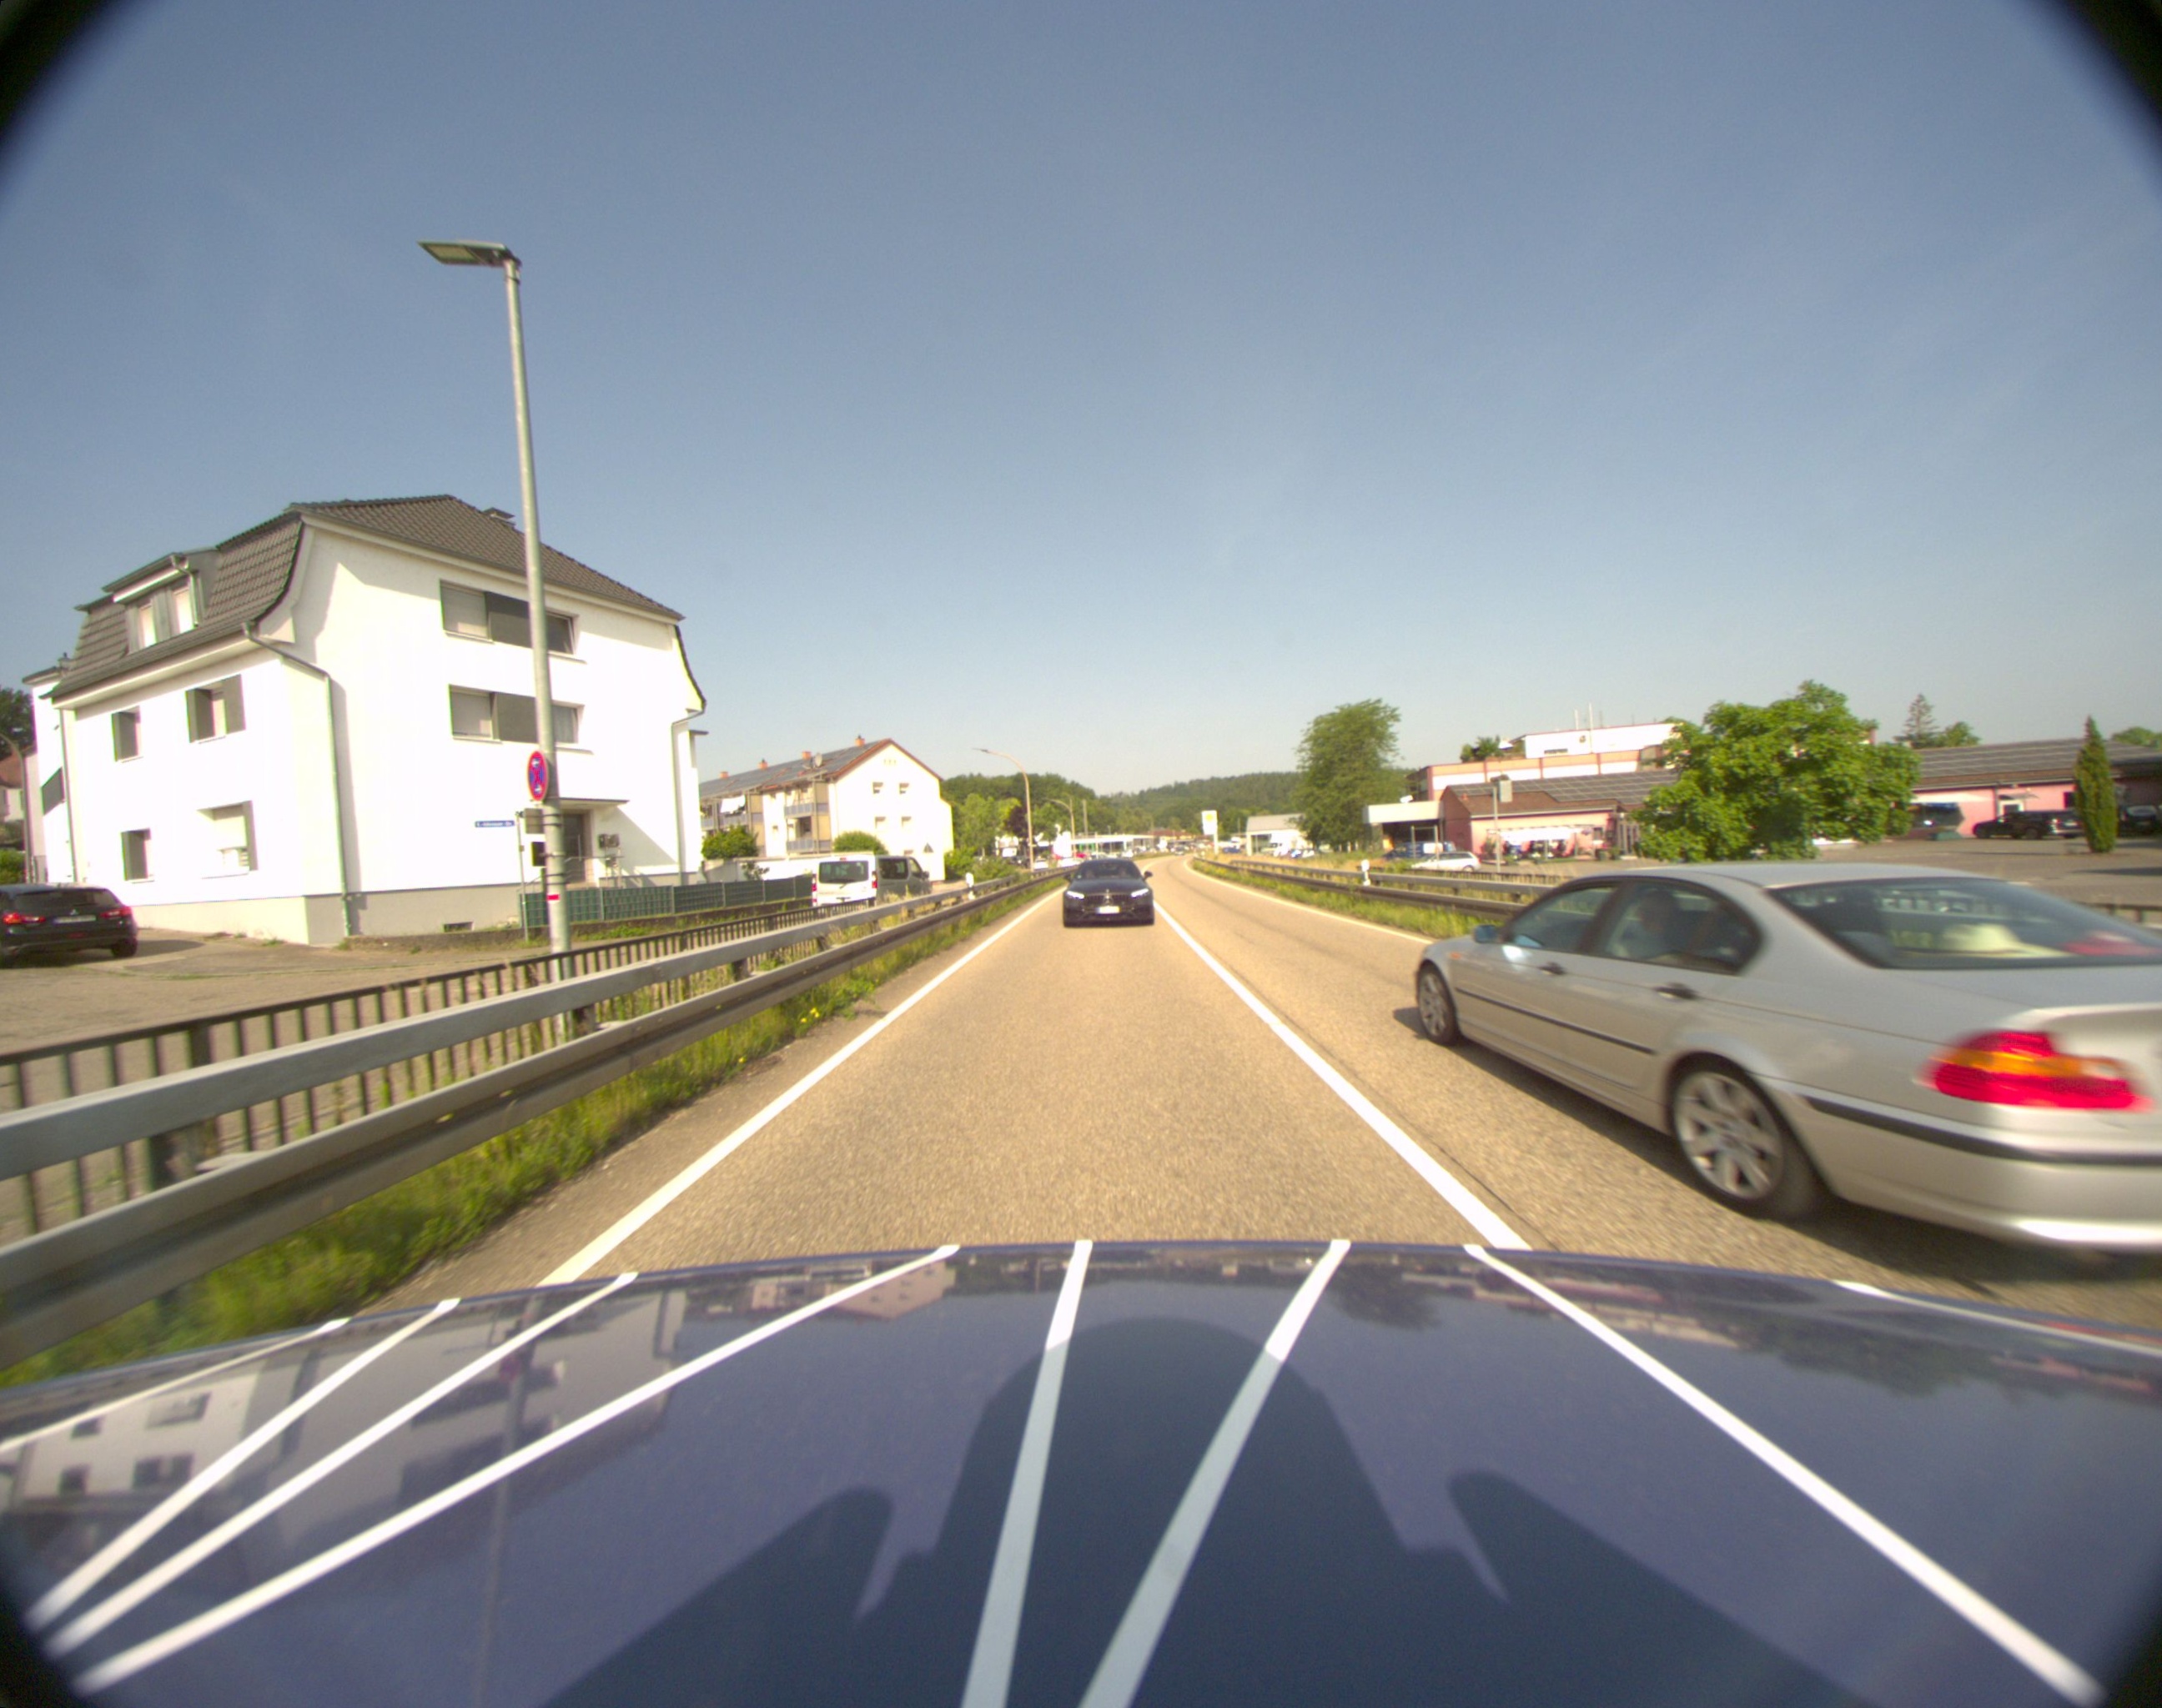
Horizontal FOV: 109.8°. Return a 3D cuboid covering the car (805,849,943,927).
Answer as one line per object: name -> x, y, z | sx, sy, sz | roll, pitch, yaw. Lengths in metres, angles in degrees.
car -> -5.856, 0.874, 22.342 | 1.997, 1.933, 5.363 | -2, 0, 6

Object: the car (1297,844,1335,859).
car -> 26.137, -0.292, 84.511 | 3.754, 1.452, 1.862 | -2, 1, 8

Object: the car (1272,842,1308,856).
car -> 28.064, -0.679, 102.087 | 4.359, 1.645, 1.932 | -3, 1, 6

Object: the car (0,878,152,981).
car -> -21.788, 1.475, 15.967 | 3.989, 1.655, 2.002 | 1, 5, 28

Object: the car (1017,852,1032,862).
car -> -8.406, 0.460, 113.136 | 1.656, 1.359, 3.658 | -3, 1, -12

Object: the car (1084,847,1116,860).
car -> 2.928, -0.066, 114.736 | 4.324, 1.630, 2.143 | -2, 1, 21

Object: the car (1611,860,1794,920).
car -> 19.914, 1.125, 24.494 | 4.310, 1.656, 1.874 | -2, 1, 2

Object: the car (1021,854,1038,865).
car -> -7.032, 0.736, 103.844 | 1.710, 1.397, 4.479 | -3, 1, -12

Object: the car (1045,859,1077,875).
car -> -2.159, 1.352, 80.395 | 3.273, 1.369, 1.548 | -5, 2, -4

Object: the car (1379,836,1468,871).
car -> 22.106, -0.017, 49.141 | 4.892, 2.002, 2.004 | -2, 1, 38

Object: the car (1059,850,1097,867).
car -> -0.353, 0.479, 85.426 | 3.997, 1.441, 1.764 | -6, 1, -2

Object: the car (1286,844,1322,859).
car -> 26.514, -0.316, 90.518 | 3.754, 1.491, 1.933 | -3, 1, 8

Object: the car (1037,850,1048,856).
car -> -10.146, -0.299, 199.781 | 2.001, 1.537, 4.612 | -2, 1, 7

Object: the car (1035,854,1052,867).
car -> -4.613, 0.789, 93.783 | 1.789, 1.411, 4.436 | -3, 0, -7

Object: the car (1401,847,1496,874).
car -> 21.347, 0.361, 44.259 | 4.627, 1.374, 1.743 | -2, 1, 1

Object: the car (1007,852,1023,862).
car -> -10.524, 0.512, 121.323 | 1.915, 1.397, 4.519 | -3, 1, -12

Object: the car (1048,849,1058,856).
car -> -7.351, -0.411, 199.402 | 2.001, 1.537, 4.610 | -2, 1, 4

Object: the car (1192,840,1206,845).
car -> 38.017, -3.592, 245.090 | 4.043, 1.499, 1.808 | -1, 2, 24

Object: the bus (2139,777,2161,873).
bus -> 41.983, -1.274, 24.813 | 9.114, 3.334, 2.668 | -3, -1, 12

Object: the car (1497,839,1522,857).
car -> 29.678, -0.430, 52.636 | 0.816, 1.139, 2.017 | -2, 2, 8

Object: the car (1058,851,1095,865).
car -> -0.490, 0.474, 88.127 | 4.070, 1.444, 1.727 | -3, 1, -7

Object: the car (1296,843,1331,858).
car -> 26.801, -0.396, 87.590 | 3.753, 1.491, 1.859 | -3, 1, 15

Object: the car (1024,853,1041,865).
car -> -6.713, 0.679, 104.476 | 1.710, 1.397, 3.658 | -3, 1, -12

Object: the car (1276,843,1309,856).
car -> 27.631, -0.630, 99.322 | 3.755, 1.491, 1.932 | -3, 1, 6

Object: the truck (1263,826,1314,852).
truck -> 31.041, -2.256, 113.500 | 8.225, 3.536, 2.799 | -4, 1, -38

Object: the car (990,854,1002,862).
car -> -15.635, 0.726, 139.804 | 1.595, 1.179, 3.657 | -3, 1, -16

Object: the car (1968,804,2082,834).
car -> 55.686, -2.012, 44.959 | 1.740, 1.598, 4.634 | -2, 1, 13

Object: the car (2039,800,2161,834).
car -> 59.091, -2.118, 44.139 | 1.740, 1.747, 4.634 | -2, 1, 13

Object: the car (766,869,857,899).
car -> -13.450, 1.461, 37.823 | 4.598, 1.340, 1.758 | -1, 0, 32

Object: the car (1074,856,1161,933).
car -> 0.737, 0.826, 17.310 | 1.716, 1.382, 4.146 | -2, 1, 0

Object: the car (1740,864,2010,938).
car -> 18.892, 1.089, 18.270 | 4.308, 1.496, 1.875 | -2, 1, 6

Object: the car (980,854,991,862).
car -> -18.198, 0.719, 145.167 | 1.787, 1.466, 3.984 | -3, 1, -11

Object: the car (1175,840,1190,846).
car -> 30.521, -3.224, 228.299 | 3.990, 1.623, 1.924 | -2, 1, 26

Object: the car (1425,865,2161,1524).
car -> 3.441, 0.825, 3.736 | 1.762, 1.402, 3.989 | -1, 1, 1

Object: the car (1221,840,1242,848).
car -> 32.968, -2.209, 166.493 | 4.237, 1.498, 1.981 | -2, 1, -24

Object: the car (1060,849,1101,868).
car -> -0.104, 0.511, 83.227 | 4.245, 1.563, 1.917 | -6, 2, -4

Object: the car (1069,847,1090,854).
car -> -0.296, -0.833, 183.831 | 4.741, 1.556, 1.934 | -1, 2, 18
